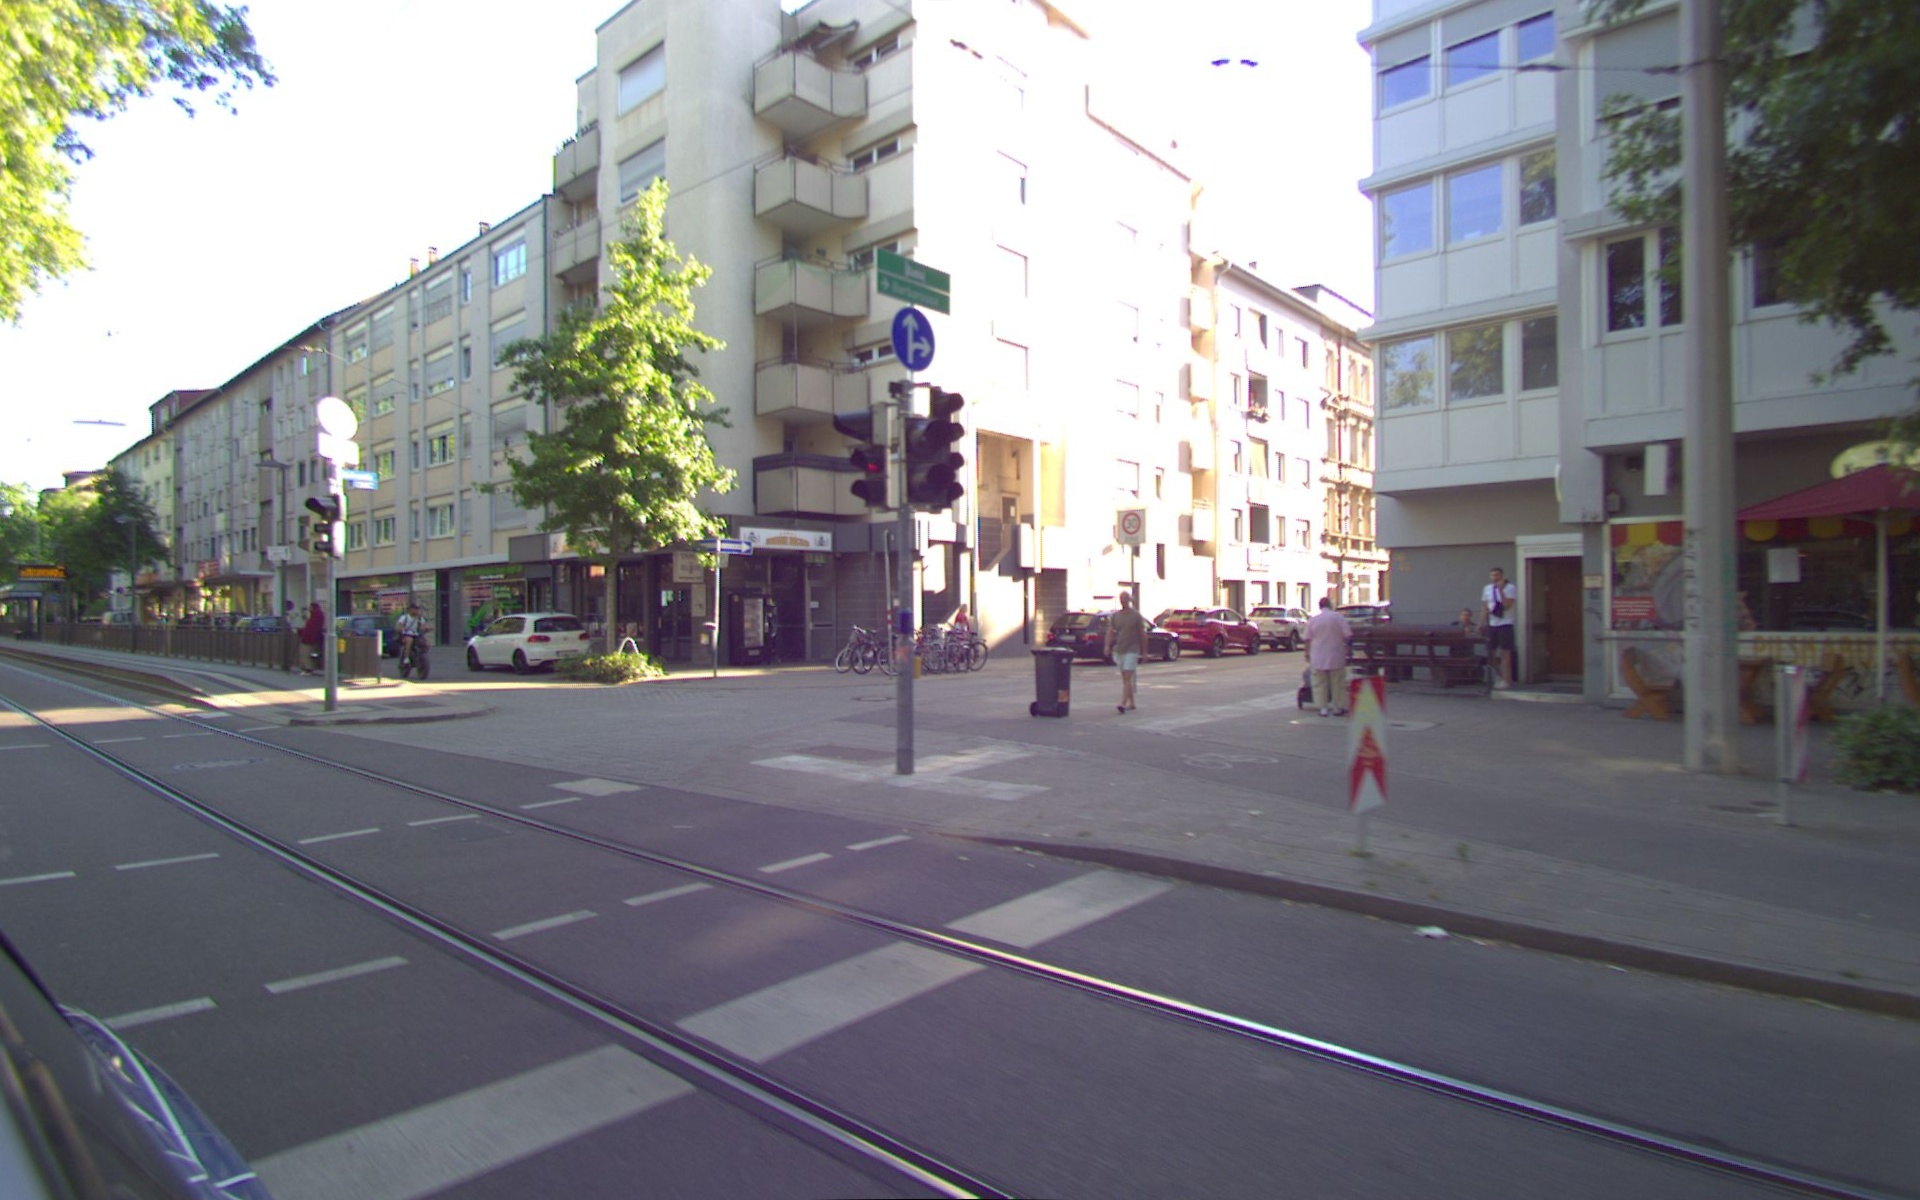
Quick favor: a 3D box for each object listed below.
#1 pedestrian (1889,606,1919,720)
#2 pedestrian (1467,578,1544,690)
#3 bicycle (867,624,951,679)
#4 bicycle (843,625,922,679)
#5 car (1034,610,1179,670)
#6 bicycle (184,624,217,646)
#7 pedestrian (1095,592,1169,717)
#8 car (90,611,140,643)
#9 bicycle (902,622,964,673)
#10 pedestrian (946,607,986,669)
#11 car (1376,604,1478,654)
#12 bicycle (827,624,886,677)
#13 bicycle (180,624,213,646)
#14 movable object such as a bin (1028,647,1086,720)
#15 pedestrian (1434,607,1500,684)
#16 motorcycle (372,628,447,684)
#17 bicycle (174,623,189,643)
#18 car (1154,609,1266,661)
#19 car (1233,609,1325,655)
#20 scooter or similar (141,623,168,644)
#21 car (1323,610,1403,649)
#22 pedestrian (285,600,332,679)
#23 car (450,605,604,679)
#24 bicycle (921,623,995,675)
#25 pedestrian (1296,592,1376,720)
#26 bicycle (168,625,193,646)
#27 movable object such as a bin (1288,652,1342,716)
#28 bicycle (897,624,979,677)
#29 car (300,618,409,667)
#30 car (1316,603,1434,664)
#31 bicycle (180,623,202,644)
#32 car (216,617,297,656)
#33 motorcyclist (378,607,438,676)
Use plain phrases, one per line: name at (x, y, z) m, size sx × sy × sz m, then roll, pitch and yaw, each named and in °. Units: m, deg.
pedestrian at (10.421, 0.664, 10.823) m, size 0.560 × 1.207 × 0.509 m, roll -1°, pitch -2°, yaw 26°
pedestrian at (8.404, 0.512, 15.603) m, size 0.737 × 1.672 × 0.771 m, roll 1°, pitch -2°, yaw -33°
bicycle at (-1.128, 1.128, 22.259) m, size 1.759 × 1.165 × 0.574 m, roll 0°, pitch -1°, yaw -17°
bicycle at (-1.739, 1.155, 22.917) m, size 1.836 × 1.165 × 0.572 m, roll 1°, pitch -2°, yaw -44°
car at (4.053, 1.031, 27.532) m, size 1.895 × 1.515 × 4.234 m, roll -1°, pitch -1°, yaw 42°
bicycle at (-40.837, 1.859, 54.413) m, size 2.020 × 1.165 × 0.555 m, roll -1°, pitch -2°, yaw 27°
pedestrian at (2.406, 0.746, 14.147) m, size 0.767 × 1.684 × 0.750 m, roll -1°, pitch -2°, yaw 36°
car at (-53.365, 1.706, 63.875) m, size 4.047 × 1.949 × 1.785 m, roll -1°, pitch -2°, yaw 41°
bicycle at (-0.641, 1.129, 24.462) m, size 0.571 × 1.165 × 1.768 m, roll -1°, pitch -1°, yaw 35°
pedestrian at (0.154, 0.970, 26.009) m, size 0.715 × 1.568 × 0.727 m, roll 1°, pitch -1°, yaw -37°
car at (14.927, 0.895, 32.269) m, size 1.890 × 1.489 × 3.944 m, roll -1°, pitch -1°, yaw 42°
bicycle at (-2.408, 1.160, 23.791) m, size 0.568 × 1.165 × 2.024 m, roll -1°, pitch -1°, yaw 19°
bicycle at (-40.723, 1.860, 53.983) m, size 2.020 × 1.165 × 0.555 m, roll -1°, pitch -2°, yaw 27°
movable object such as a bin at (1.322, 1.123, 13.729) m, size 0.646 × 0.939 × 0.536 m, roll -1°, pitch -1°, yaw 25°
pedestrian at (8.432, 0.753, 16.873) m, size 0.760 × 1.251 × 0.747 m, roll 0°, pitch -1°, yaw 8°
motorcycle at (-12.040, 1.199, 22.121) m, size 1.914 × 1.173 × 0.840 m, roll -1°, pitch -2°, yaw 42°
bicycle at (-45.474, 1.934, 59.102) m, size 0.506 × 1.165 × 1.688 m, roll 1°, pitch -2°, yaw -45°
car at (7.771, 1.048, 31.325) m, size 1.804 × 1.515 × 3.729 m, roll -1°, pitch -1°, yaw 42°
car at (11.082, 1.068, 34.974) m, size 1.892 × 1.515 × 3.735 m, roll -1°, pitch -1°, yaw 37°
scooter or similar at (-46.773, 1.949, 58.785) m, size 1.259 × 1.183 × 0.445 m, roll 0°, pitch -1°, yaw 6°
car at (16.762, 1.193, 42.039) m, size 1.895 × 1.515 × 3.729 m, roll -1°, pitch -1°, yaw 42°
pedestrian at (-13.347, 0.796, 20.730) m, size 0.772 × 1.597 × 0.647 m, roll -1°, pitch -1°, yaw 42°
car at (-11.063, 1.026, 25.721) m, size 4.356 × 1.663 × 1.858 m, roll -1°, pitch 1°, yaw 41°
bicycle at (-0.039, 1.130, 23.761) m, size 1.760 × 1.165 × 0.573 m, roll 0°, pitch -1°, yaw -37°
pedestrian at (4.807, 0.699, 12.933) m, size 0.767 × 1.568 × 0.718 m, roll -1°, pitch -2°, yaw 36°
bicycle at (-43.955, 1.972, 57.046) m, size 2.034 × 1.165 × 0.565 m, roll -1°, pitch -2°, yaw 37°
movable object such as a bin at (4.869, 1.132, 13.889) m, size 0.661 × 0.763 × 1.188 m, roll -1°, pitch 0°, yaw 20°
bicycle at (-0.495, 1.126, 22.844) m, size 1.759 × 1.165 × 0.574 m, roll 0°, pitch -1°, yaw -17°
car at (-20.294, 1.390, 33.850) m, size 4.388 × 1.556 × 1.935 m, roll -1°, pitch -2°, yaw 42°
car at (11.755, 0.897, 28.546) m, size 1.890 × 1.593 × 3.944 m, roll -1°, pitch -1°, yaw 42°
bicycle at (-42.435, 1.852, 55.857) m, size 1.748 × 1.165 × 0.488 m, roll -1°, pitch -2°, yaw 37°
car at (-28.650, 1.467, 41.164) m, size 4.281 × 1.475 × 1.775 m, roll -1°, pitch -2°, yaw 42°
motorcyclist at (-12.090, 0.892, 22.154) m, size 1.016 × 1.451 × 0.864 m, roll -1°, pitch -2°, yaw 41°
